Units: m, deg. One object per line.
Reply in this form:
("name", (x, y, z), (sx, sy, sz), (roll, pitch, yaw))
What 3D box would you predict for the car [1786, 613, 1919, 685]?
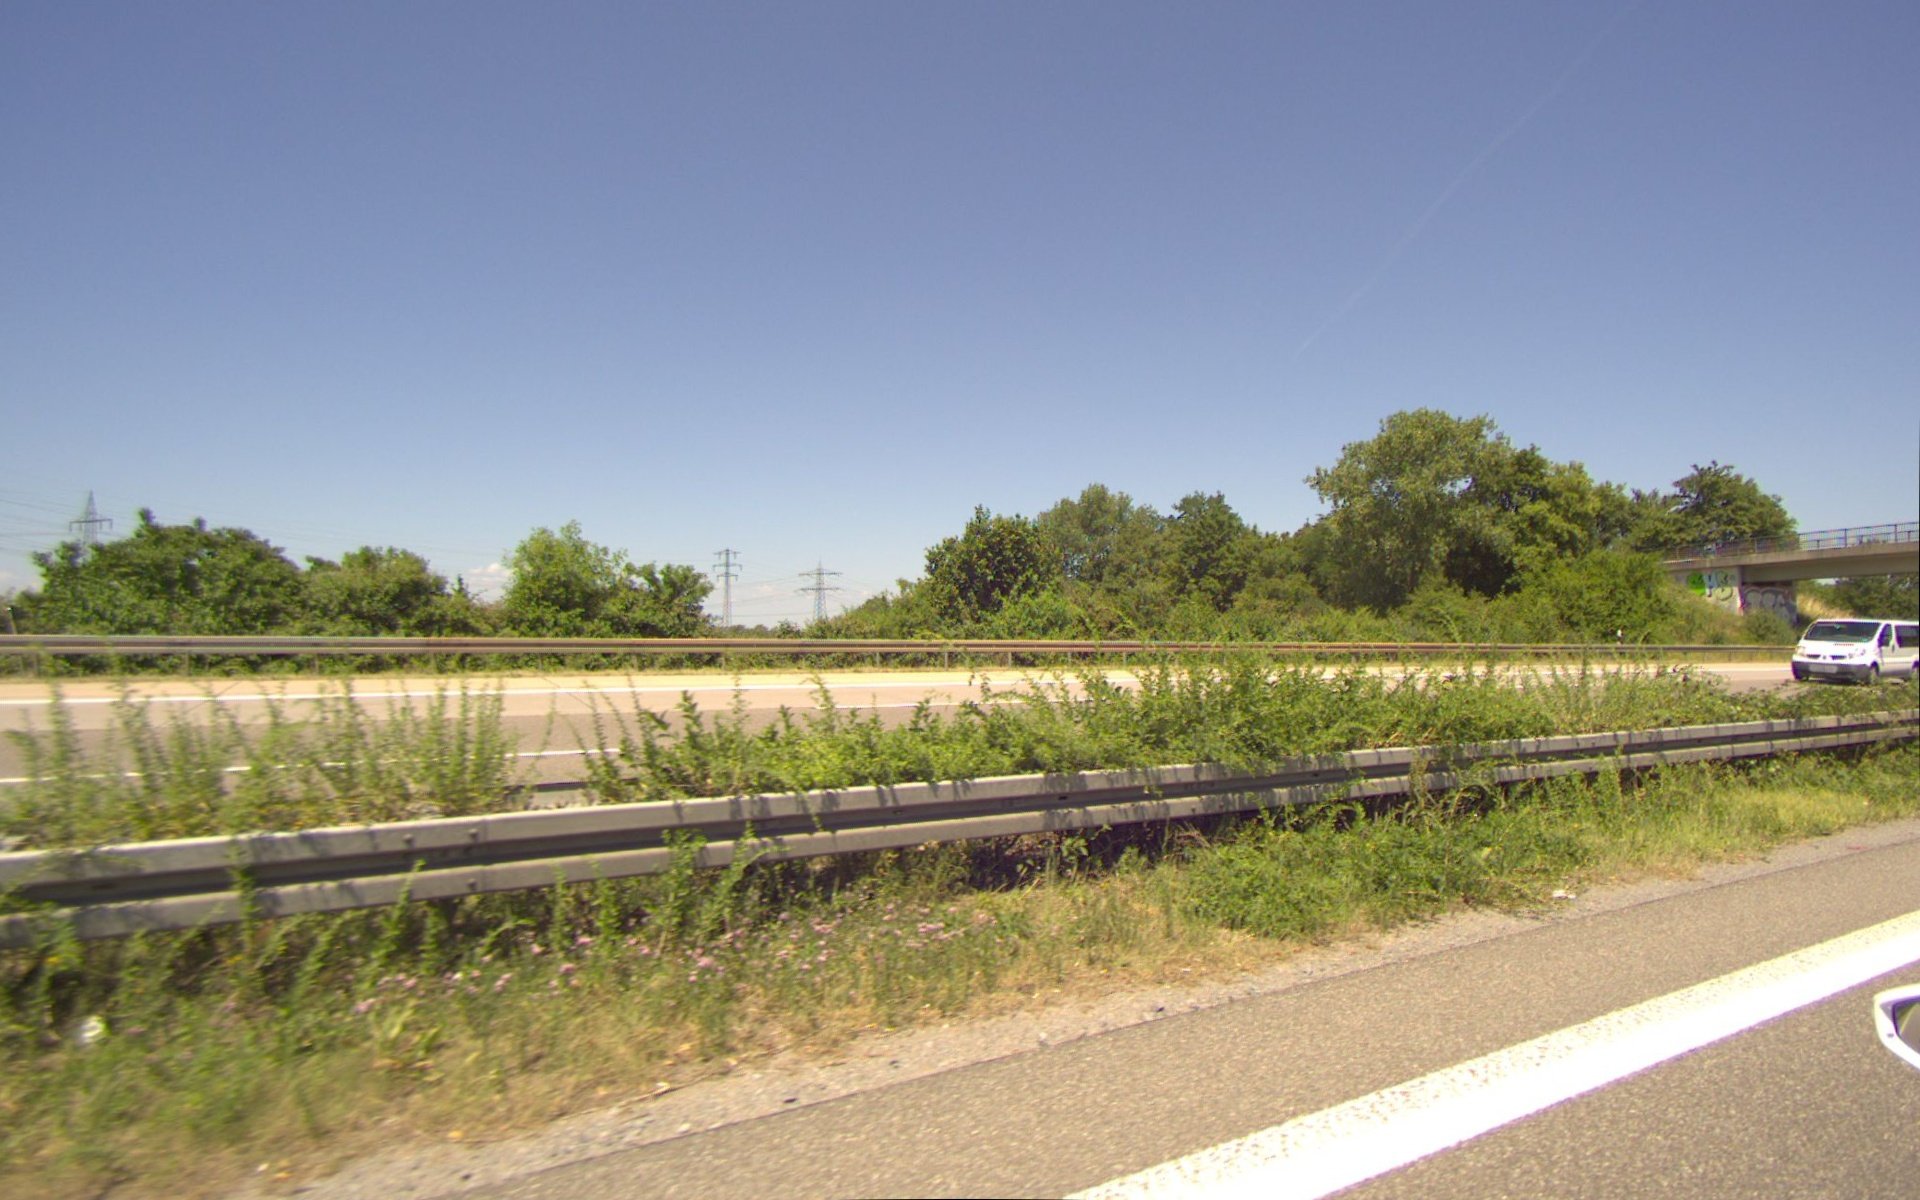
("car", (27.747, 1.491, 30.932), (5.267, 2.040, 1.819), (2, 0, -30))
